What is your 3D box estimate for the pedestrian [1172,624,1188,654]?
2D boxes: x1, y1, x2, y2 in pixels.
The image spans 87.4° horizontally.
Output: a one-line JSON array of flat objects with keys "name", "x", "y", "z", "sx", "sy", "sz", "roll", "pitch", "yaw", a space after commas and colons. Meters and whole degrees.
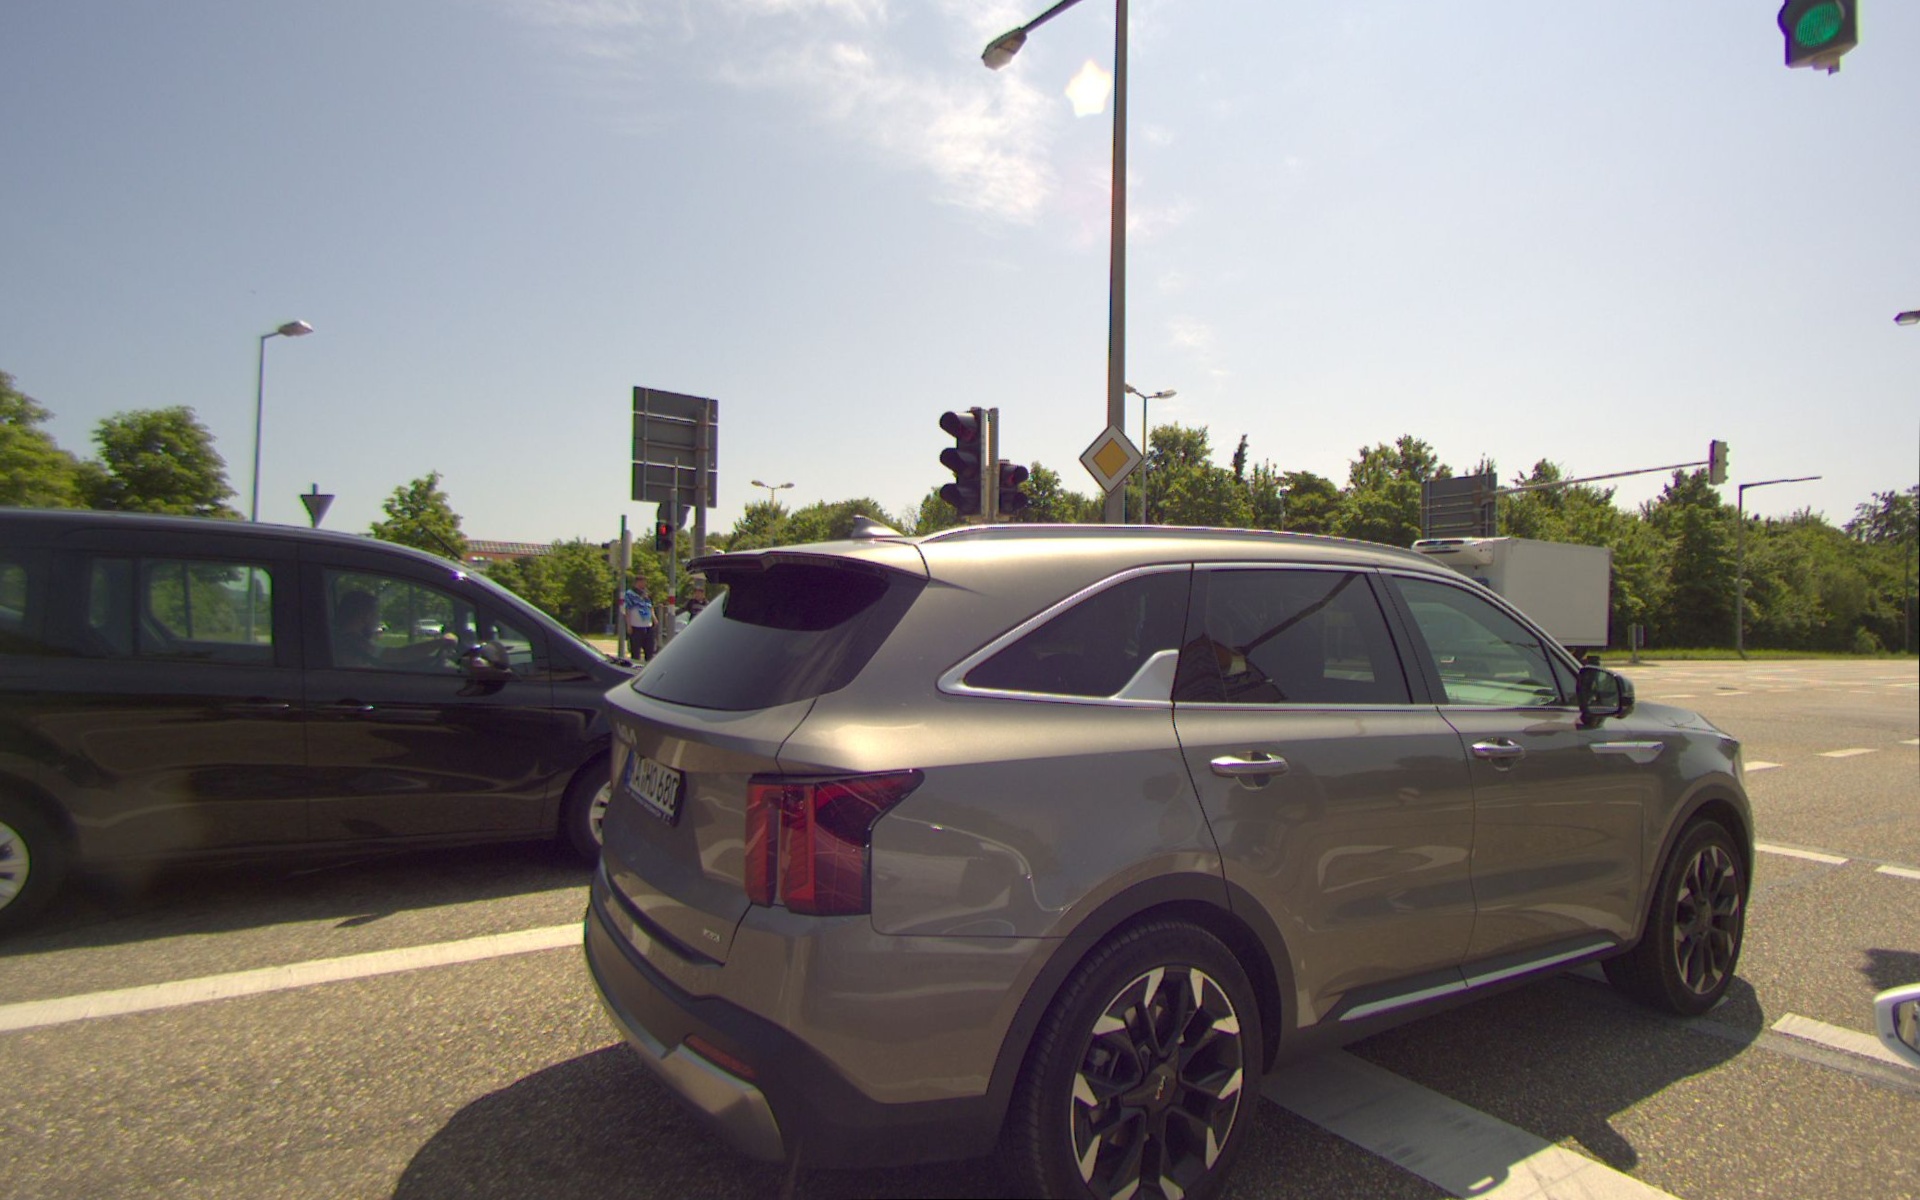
[{"name": "pedestrian", "x": 11.255, "y": 2.001, "z": 51.372, "sx": 0.605, "sy": 1.523, "sz": 0.798, "roll": 1, "pitch": -1, "yaw": 23}]

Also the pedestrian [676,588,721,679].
[{"name": "pedestrian", "x": -5.059, "y": 0.642, "z": 19.421, "sx": 0.714, "sy": 1.722, "sz": 0.771, "roll": 1, "pitch": -1, "yaw": -24}]

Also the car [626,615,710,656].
[{"name": "car", "x": -10.188, "y": 1.206, "z": 34.910, "sx": 1.686, "sy": 1.353, "sz": 3.962, "roll": 2, "pitch": -2, "yaw": -34}]

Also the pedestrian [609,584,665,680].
[{"name": "pedestrian", "x": -6.086, "y": 0.599, "z": 18.919, "sx": 0.777, "sy": 1.759, "sz": 0.583, "roll": 1, "pitch": -1, "yaw": 18}]

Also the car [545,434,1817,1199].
[{"name": "car", "x": 1.096, "y": 0.638, "z": 3.670, "sx": 4.592, "sy": 1.684, "sz": 1.794, "roll": 2, "pitch": -1, "yaw": -32}]

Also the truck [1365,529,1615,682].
[{"name": "truck", "x": 14.244, "y": 0.221, "z": 26.803, "sx": 7.187, "sy": 3.618, "sz": 2.672, "roll": 2, "pitch": -1, "yaw": -32}]

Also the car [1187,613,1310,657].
[{"name": "car", "x": 12.317, "y": 1.481, "z": 43.122, "sx": 4.826, "sy": 1.755, "sz": 1.830, "roll": 1, "pitch": -1, "yaw": 7}]

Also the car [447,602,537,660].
[{"name": "car", "x": -13.601, "y": 0.924, "z": 29.439, "sx": 1.850, "sy": 1.521, "sz": 4.293, "roll": -1, "pitch": -2, "yaw": -18}]

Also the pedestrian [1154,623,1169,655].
[{"name": "pedestrian", "x": 10.377, "y": 2.030, "z": 51.804, "sx": 0.605, "sy": 1.624, "sz": 0.798, "roll": 0, "pitch": -1, "yaw": 23}]

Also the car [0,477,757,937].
[{"name": "car", "x": -3.434, "y": 0.462, "z": 5.360, "sx": 4.276, "sy": 1.850, "sz": 1.721, "roll": 2, "pitch": -1, "yaw": -34}]
